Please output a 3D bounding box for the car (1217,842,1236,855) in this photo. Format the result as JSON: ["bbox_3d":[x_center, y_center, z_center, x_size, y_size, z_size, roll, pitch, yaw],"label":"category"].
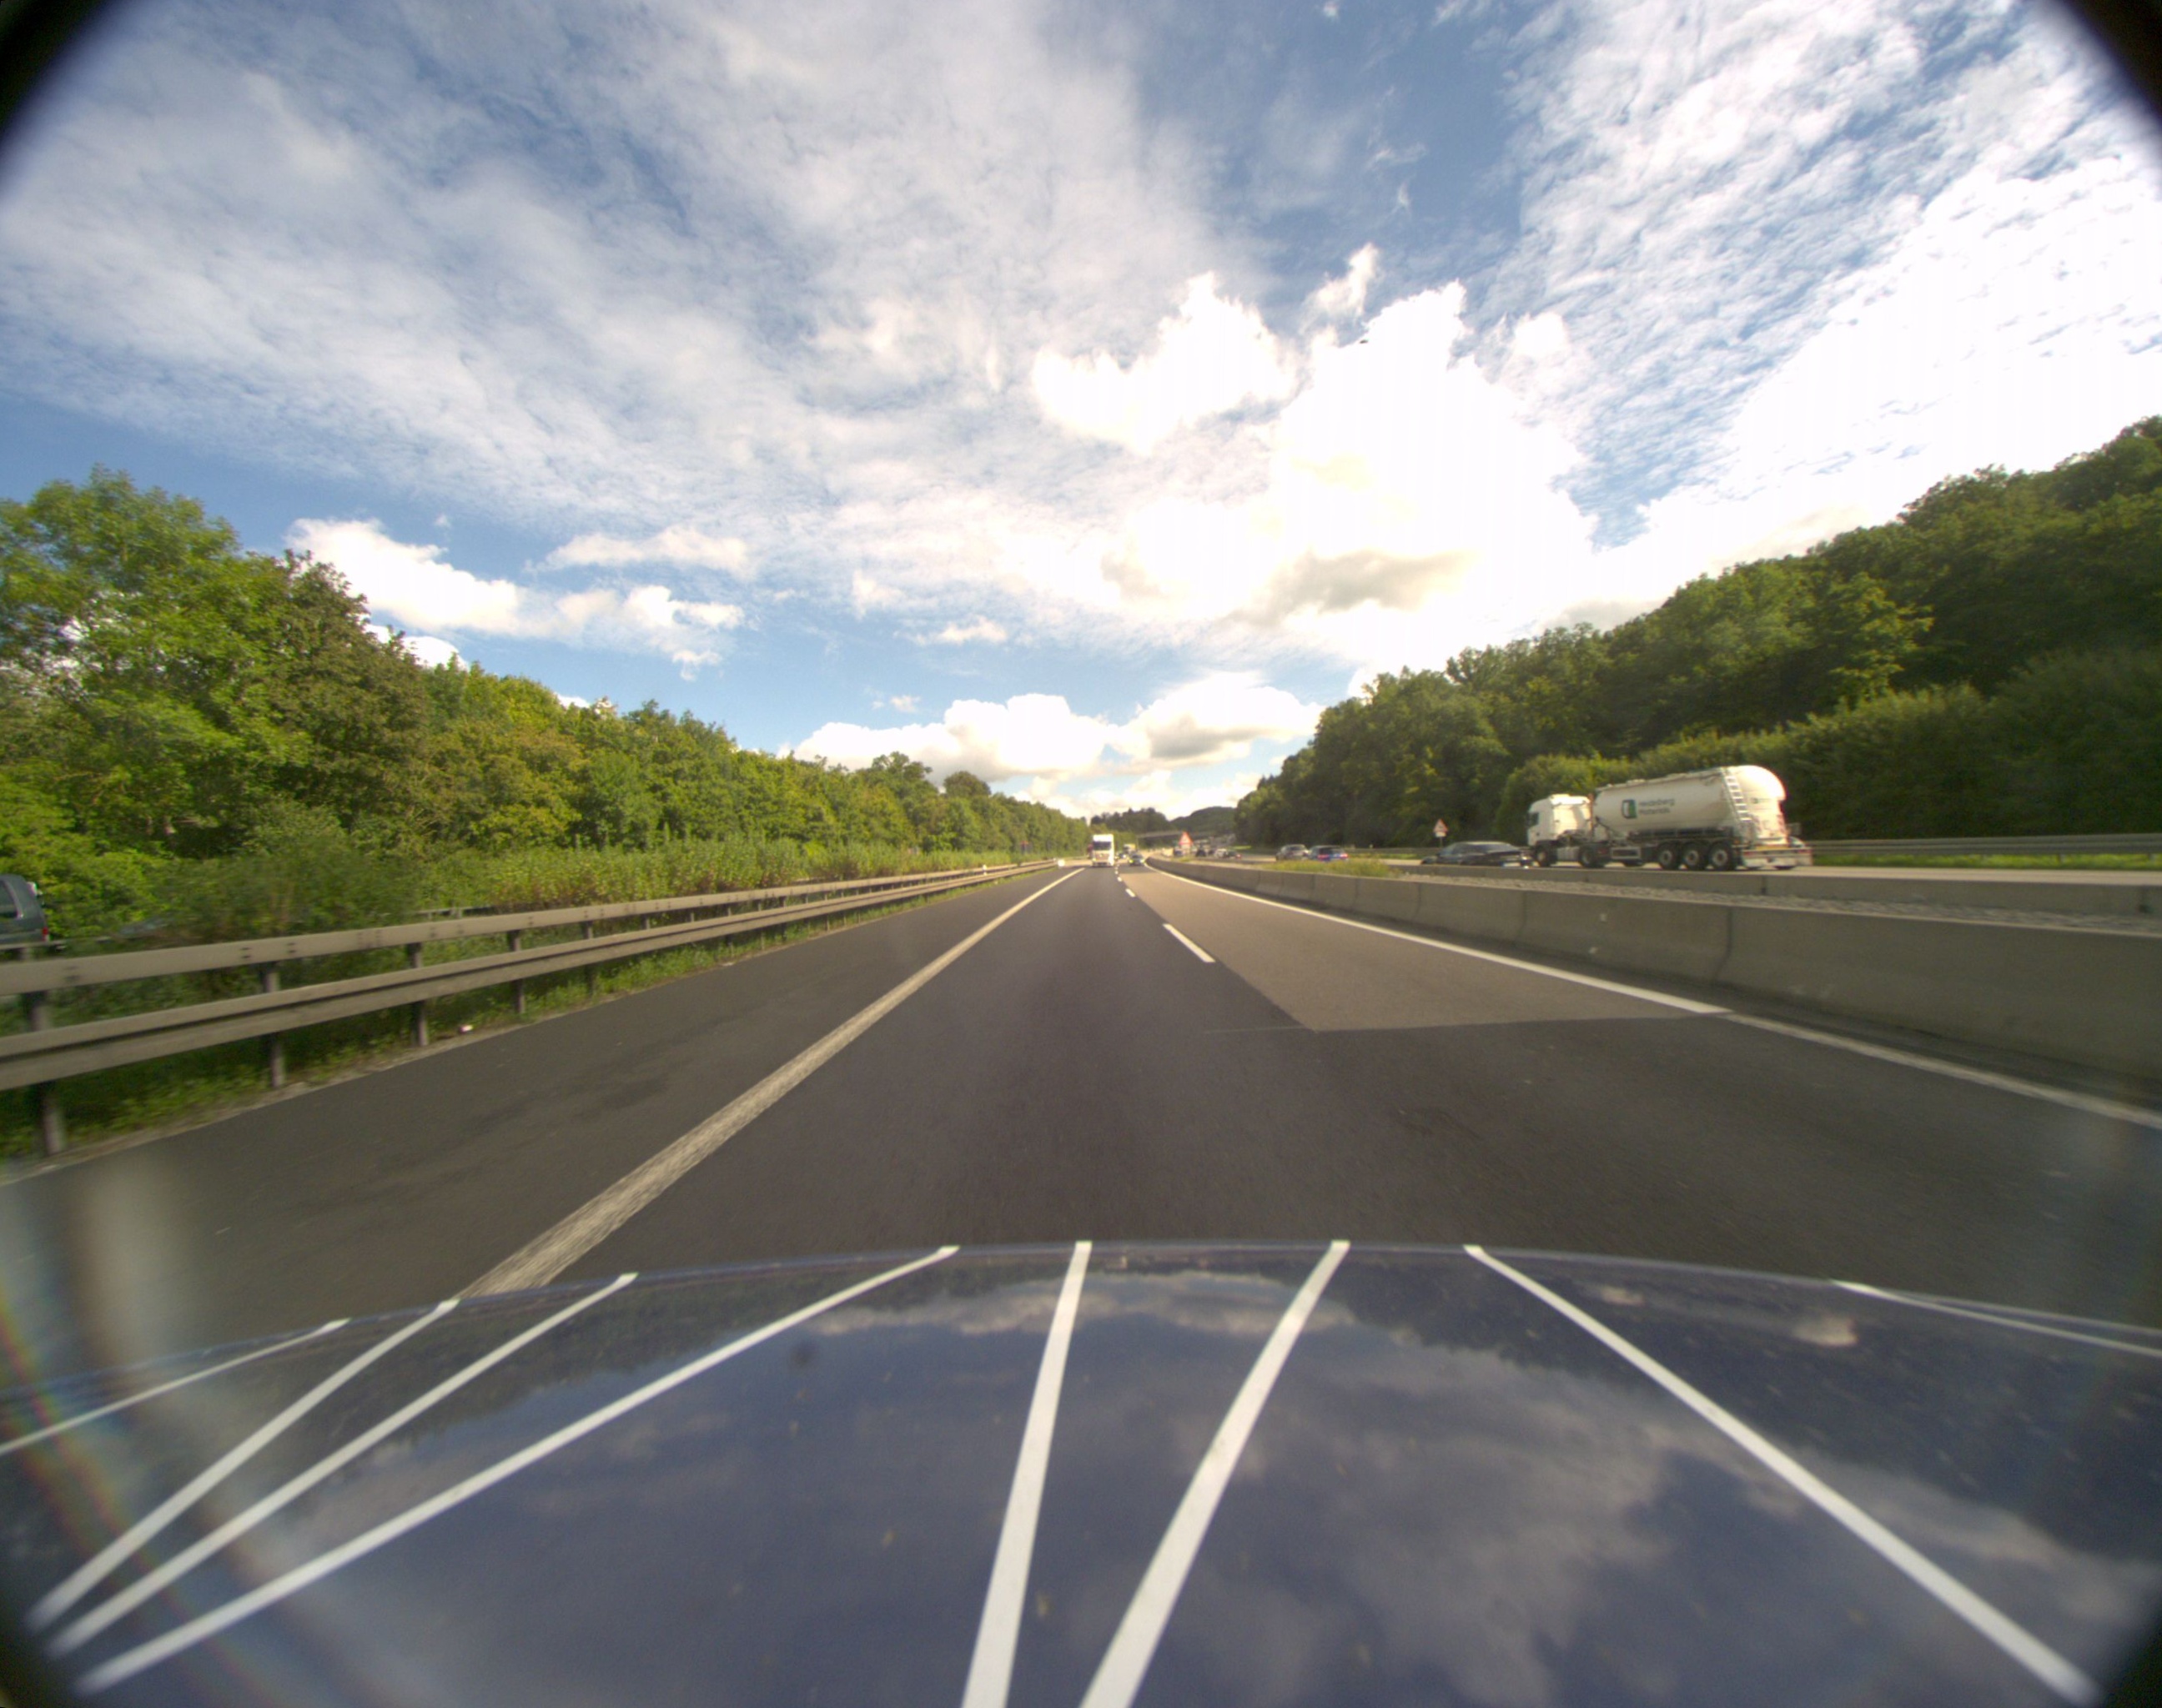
[{"bbox_3d":[20.305,-0.764,106.295,2.104,1.743,4.001,-2,0,3],"label":"car"}]

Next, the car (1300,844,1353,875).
[{"bbox_3d":[12.994,0.281,40.401,1.602,1.521,3.843,-2,0,1],"label":"car"}]

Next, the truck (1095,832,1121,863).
[{"bbox_3d":[3.512,-0.867,96.553,2.796,3.562,11.460,-2,1,4],"label":"truck"}]

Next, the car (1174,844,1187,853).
[{"bbox_3d":[19.631,-1.092,150.236,2.125,1.743,4.001,-2,0,3],"label":"car"}]

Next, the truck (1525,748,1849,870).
[{"bbox_3d":[25.018,-1.622,33.208,3.459,4.103,13.678,-2,1,1],"label":"truck"}]

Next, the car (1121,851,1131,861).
[{"bbox_3d":[9.856,0.447,168.228,1.998,2.002,4.000,-2,1,1],"label":"car"}]

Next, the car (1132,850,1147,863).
[{"bbox_3d":[7.180,0.275,93.647,1.662,1.464,4.000,-2,0,2],"label":"car"}]

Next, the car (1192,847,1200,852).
[{"bbox_3d":[32.426,-1.271,214.771,1.810,1.497,4.000,-2,0,1],"label":"car"}]

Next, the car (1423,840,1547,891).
[{"bbox_3d":[13.366,0.342,25.492,1.771,1.469,4.539,-2,0,1],"label":"car"}]

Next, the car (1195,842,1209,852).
[{"bbox_3d":[22.999,-1.286,144.385,2.104,1.743,4.001,-2,0,3],"label":"car"}]

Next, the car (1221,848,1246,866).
[{"bbox_3d":[13.671,0.246,68.298,1.601,1.489,4.064,-2,0,2],"label":"car"}]

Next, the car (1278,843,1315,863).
[{"bbox_3d":[17.446,-0.106,61.606,1.837,1.522,4.548,-2,0,2],"label":"car"}]

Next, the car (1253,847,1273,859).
[{"bbox_3d":[20.592,-0.131,86.264,1.487,1.333,3.303,-2,0,1],"label":"car"}]

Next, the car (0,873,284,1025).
[{"bbox_3d":[-15.940,1.403,11.734,1.998,2.002,4.909,-3,0,0],"label":"car"}]

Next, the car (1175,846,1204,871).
[{"bbox_3d":[9.562,0.399,67.252,1.998,2.022,4.000,-2,0,1],"label":"car"}]

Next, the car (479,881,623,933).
[{"bbox_3d":[-19.428,1.868,28.170,1.771,1.501,4.871,-2,0,1],"label":"car"}]
